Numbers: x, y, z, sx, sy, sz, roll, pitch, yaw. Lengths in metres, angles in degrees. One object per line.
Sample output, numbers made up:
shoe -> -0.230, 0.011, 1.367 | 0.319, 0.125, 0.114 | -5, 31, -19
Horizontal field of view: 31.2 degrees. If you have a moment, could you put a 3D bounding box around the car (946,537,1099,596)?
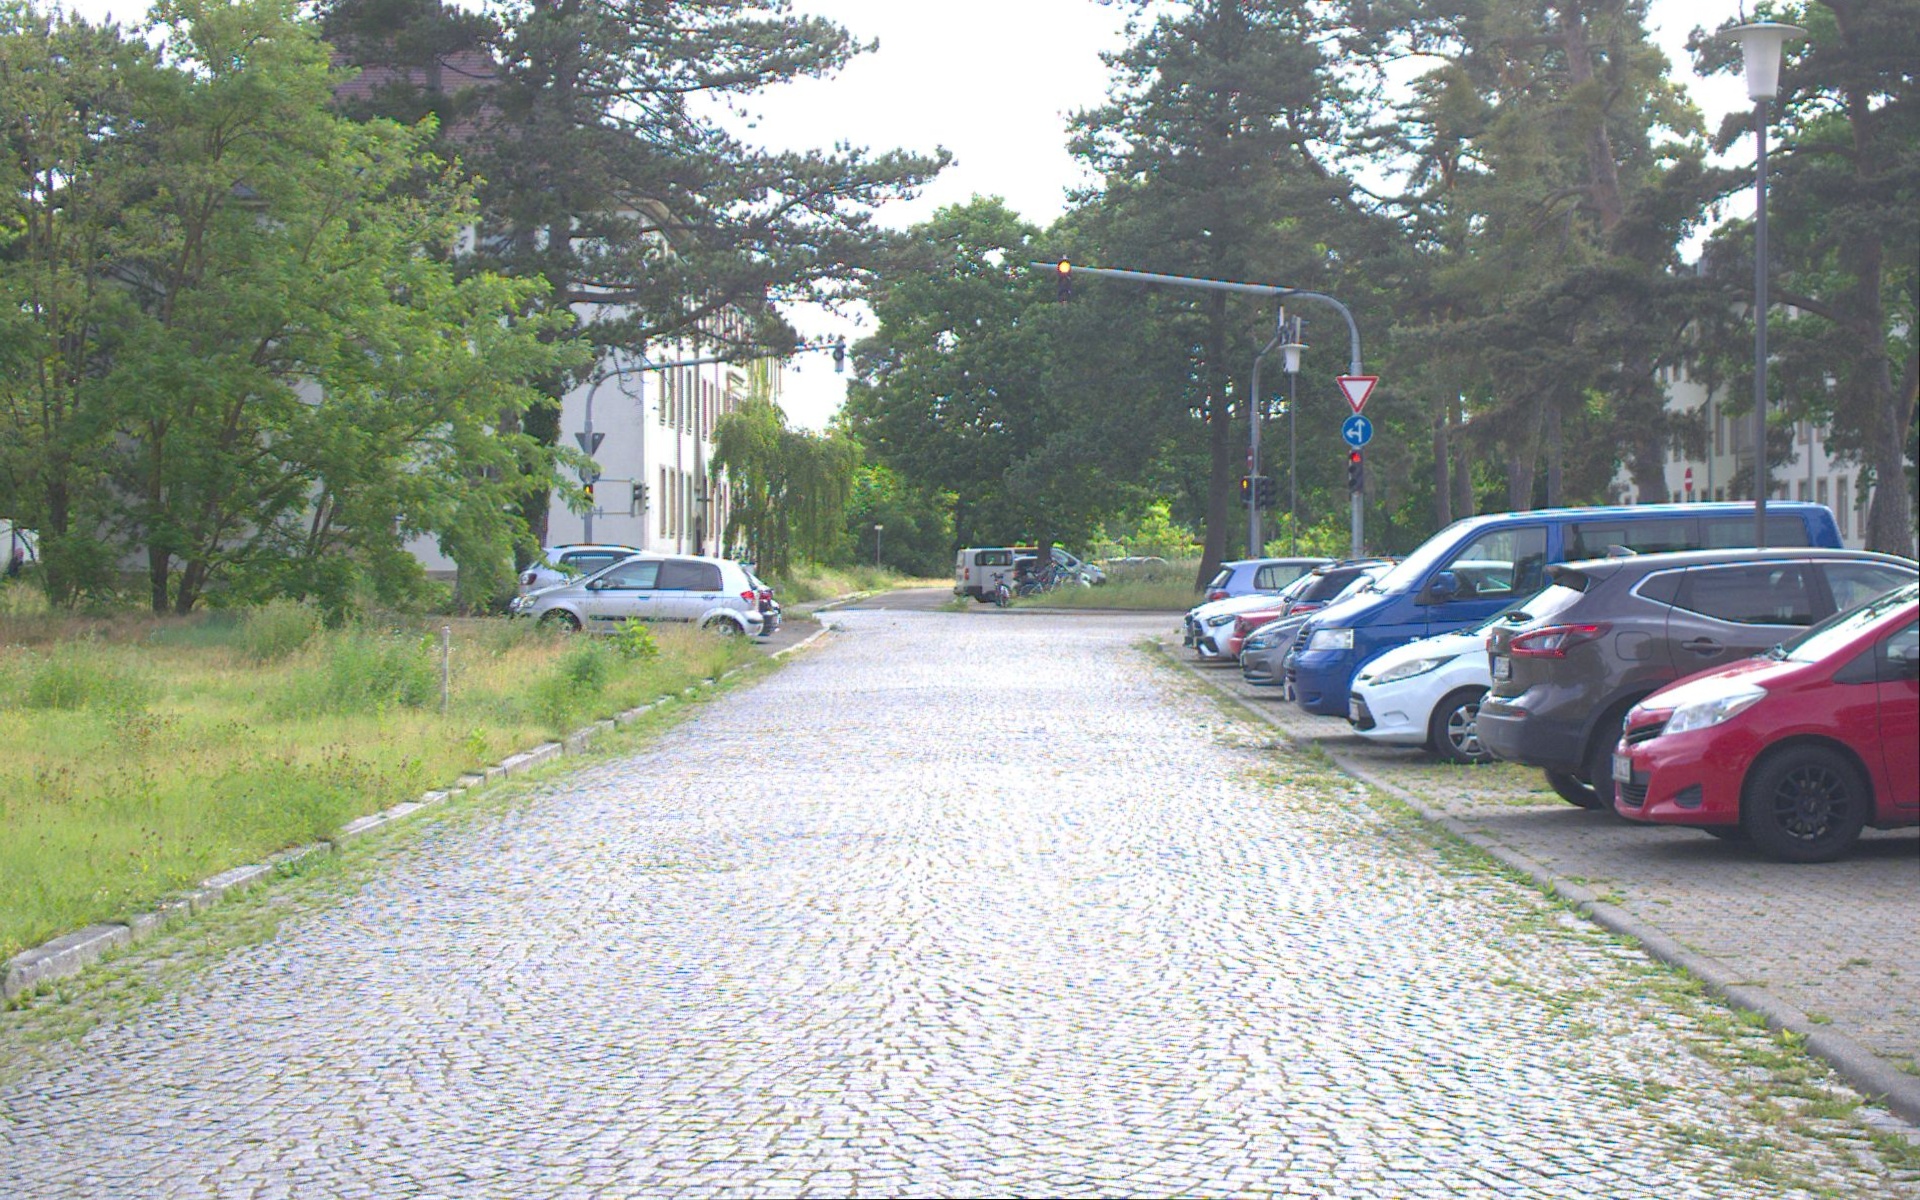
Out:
car -> 2.165, -1.169, 120.031 | 5.049, 2.007, 2.001 | 0, 1, -9

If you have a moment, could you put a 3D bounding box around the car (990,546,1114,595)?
car -> 3.099, -1.007, 116.739 | 3.986, 1.638, 2.000 | 0, 1, -5

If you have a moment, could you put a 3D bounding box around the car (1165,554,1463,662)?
car -> 5.182, 0.106, 50.606 | 4.122, 1.538, 1.664 | 0, 1, -5

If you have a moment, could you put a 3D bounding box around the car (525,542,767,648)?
car -> -5.315, -0.091, 58.079 | 3.986, 1.744, 1.927 | 0, 1, -6

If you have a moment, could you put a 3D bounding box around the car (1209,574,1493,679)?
car -> 4.903, 0.320, 43.316 | 3.292, 1.263, 1.664 | 0, 1, -5

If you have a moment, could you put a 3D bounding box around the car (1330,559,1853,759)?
car -> 4.880, 0.435, 26.883 | 3.722, 1.419, 1.655 | -1, 1, -2

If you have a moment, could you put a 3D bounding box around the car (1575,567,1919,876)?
car -> 5.337, 0.592, 17.832 | 3.987, 1.513, 1.738 | 0, 1, 1

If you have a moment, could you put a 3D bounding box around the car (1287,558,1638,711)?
car -> 5.055, 0.333, 34.897 | 3.292, 1.499, 1.664 | 0, 1, -1

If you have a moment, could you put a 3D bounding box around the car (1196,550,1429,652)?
car -> 5.435, 0.006, 53.171 | 3.388, 1.538, 1.391 | 0, 1, -5

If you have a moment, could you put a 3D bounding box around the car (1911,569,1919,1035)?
car -> 5.002, 0.633, 10.225 | 3.839, 1.500, 1.738 | -1, 1, 0

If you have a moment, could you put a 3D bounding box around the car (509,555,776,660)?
car -> -4.844, 0.090, 52.535 | 3.986, 1.546, 2.000 | 0, 1, -5

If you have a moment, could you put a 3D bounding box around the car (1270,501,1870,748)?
car -> 5.133, 0.183, 29.335 | 4.782, 2.033, 1.738 | 0, 1, -1

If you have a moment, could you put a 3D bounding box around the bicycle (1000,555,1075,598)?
bicycle -> 2.341, -0.713, 104.006 | 2.160, 1.264, 0.812 | 0, 1, -5

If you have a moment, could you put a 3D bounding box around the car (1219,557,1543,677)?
car -> 5.547, 0.216, 45.552 | 3.986, 1.538, 1.664 | 0, 1, -5

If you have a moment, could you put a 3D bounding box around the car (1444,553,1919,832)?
car -> 4.995, 0.520, 20.487 | 3.950, 1.575, 1.762 | 0, 1, -1

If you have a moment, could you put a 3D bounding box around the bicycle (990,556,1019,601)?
bicycle -> 1.274, -0.617, 98.464 | 0.810, 1.264, 1.973 | 0, 1, 2

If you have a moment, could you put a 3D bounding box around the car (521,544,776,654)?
car -> -4.981, -0.035, 55.022 | 3.986, 1.700, 2.000 | 0, 1, -5

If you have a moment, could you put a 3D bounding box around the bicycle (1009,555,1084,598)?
bicycle -> 2.566, -0.703, 102.201 | 2.160, 1.264, 0.812 | 0, 1, -5

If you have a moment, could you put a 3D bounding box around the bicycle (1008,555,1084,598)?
bicycle -> 2.567, -0.705, 102.788 | 2.160, 1.264, 0.812 | 0, 1, -5

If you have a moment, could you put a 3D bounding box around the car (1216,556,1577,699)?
car -> 4.758, 0.277, 37.723 | 3.597, 1.501, 1.664 | 0, 1, -10

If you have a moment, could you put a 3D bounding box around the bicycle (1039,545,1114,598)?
bicycle -> 3.506, -0.862, 103.481 | 2.160, 1.610, 0.812 | 0, 1, -5

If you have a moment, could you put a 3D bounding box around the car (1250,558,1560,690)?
car -> 5.242, 0.267, 40.687 | 3.291, 1.499, 1.664 | 0, 1, -10

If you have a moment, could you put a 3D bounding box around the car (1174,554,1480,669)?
car -> 5.073, 0.146, 47.785 | 3.986, 1.538, 1.664 | 0, 1, -5
